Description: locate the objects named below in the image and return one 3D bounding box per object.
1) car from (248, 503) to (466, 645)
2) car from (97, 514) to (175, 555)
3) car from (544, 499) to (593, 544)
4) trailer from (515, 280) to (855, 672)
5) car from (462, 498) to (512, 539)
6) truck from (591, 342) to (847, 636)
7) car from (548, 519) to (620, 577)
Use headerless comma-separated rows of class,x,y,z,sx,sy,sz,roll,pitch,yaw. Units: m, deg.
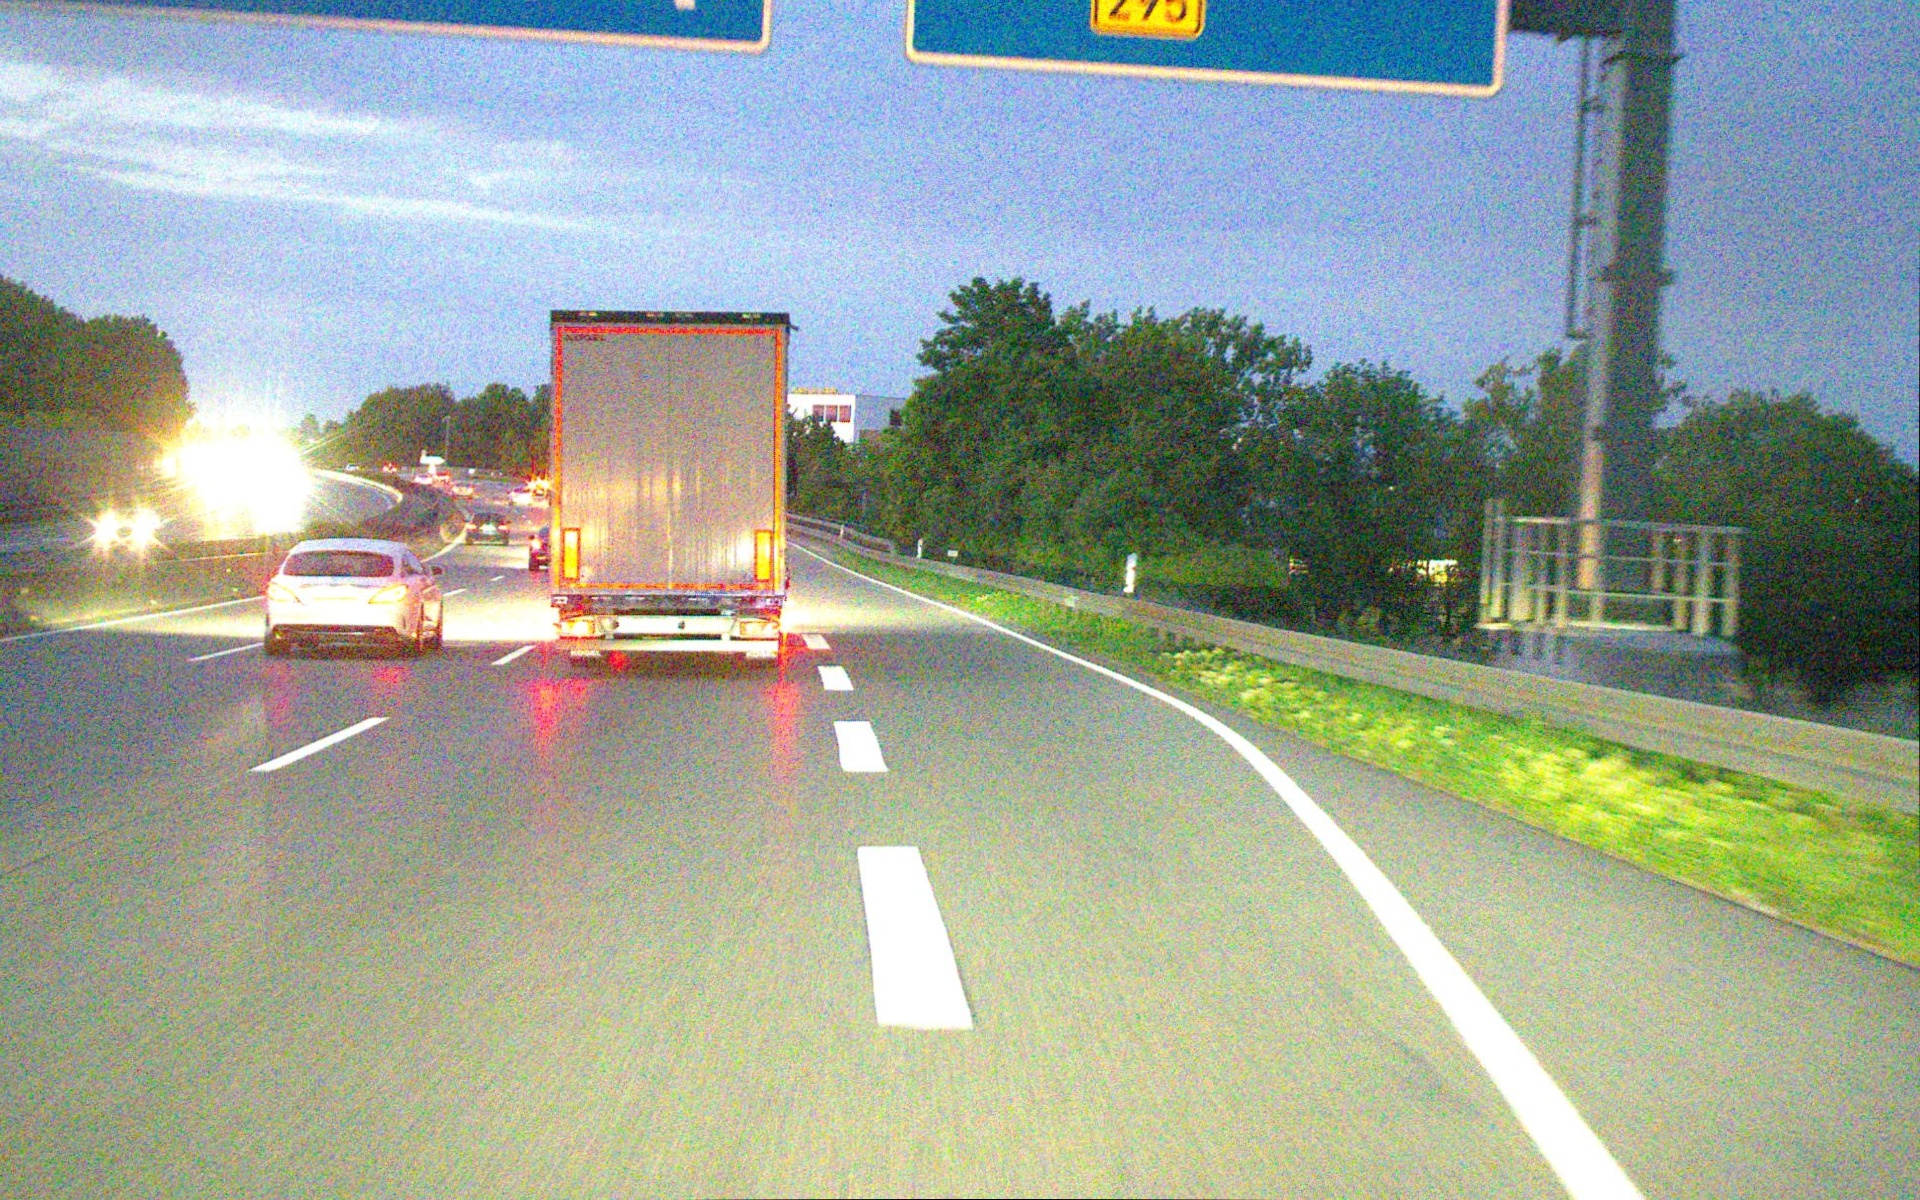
car,-7.435,-0.288,42.811,1.906,1.609,4.804,2,0,-1
car,-30.060,-2.380,125.520,1.993,1.414,4.152,2,1,-3
car,-19.204,-3.829,168.667,1.993,2.007,4.000,2,-1,-1
trailer,-3.224,-1.463,43.769,3.550,4.102,15.065,0,1,-2
car,-20.637,-3.548,150.178,1.761,1.569,4.577,2,0,-4
truck,-3.499,-1.615,51.156,3.550,4.077,6.152,0,1,-2
car,-11.900,-1.620,108.984,2.065,1.680,4.577,2,0,-4
